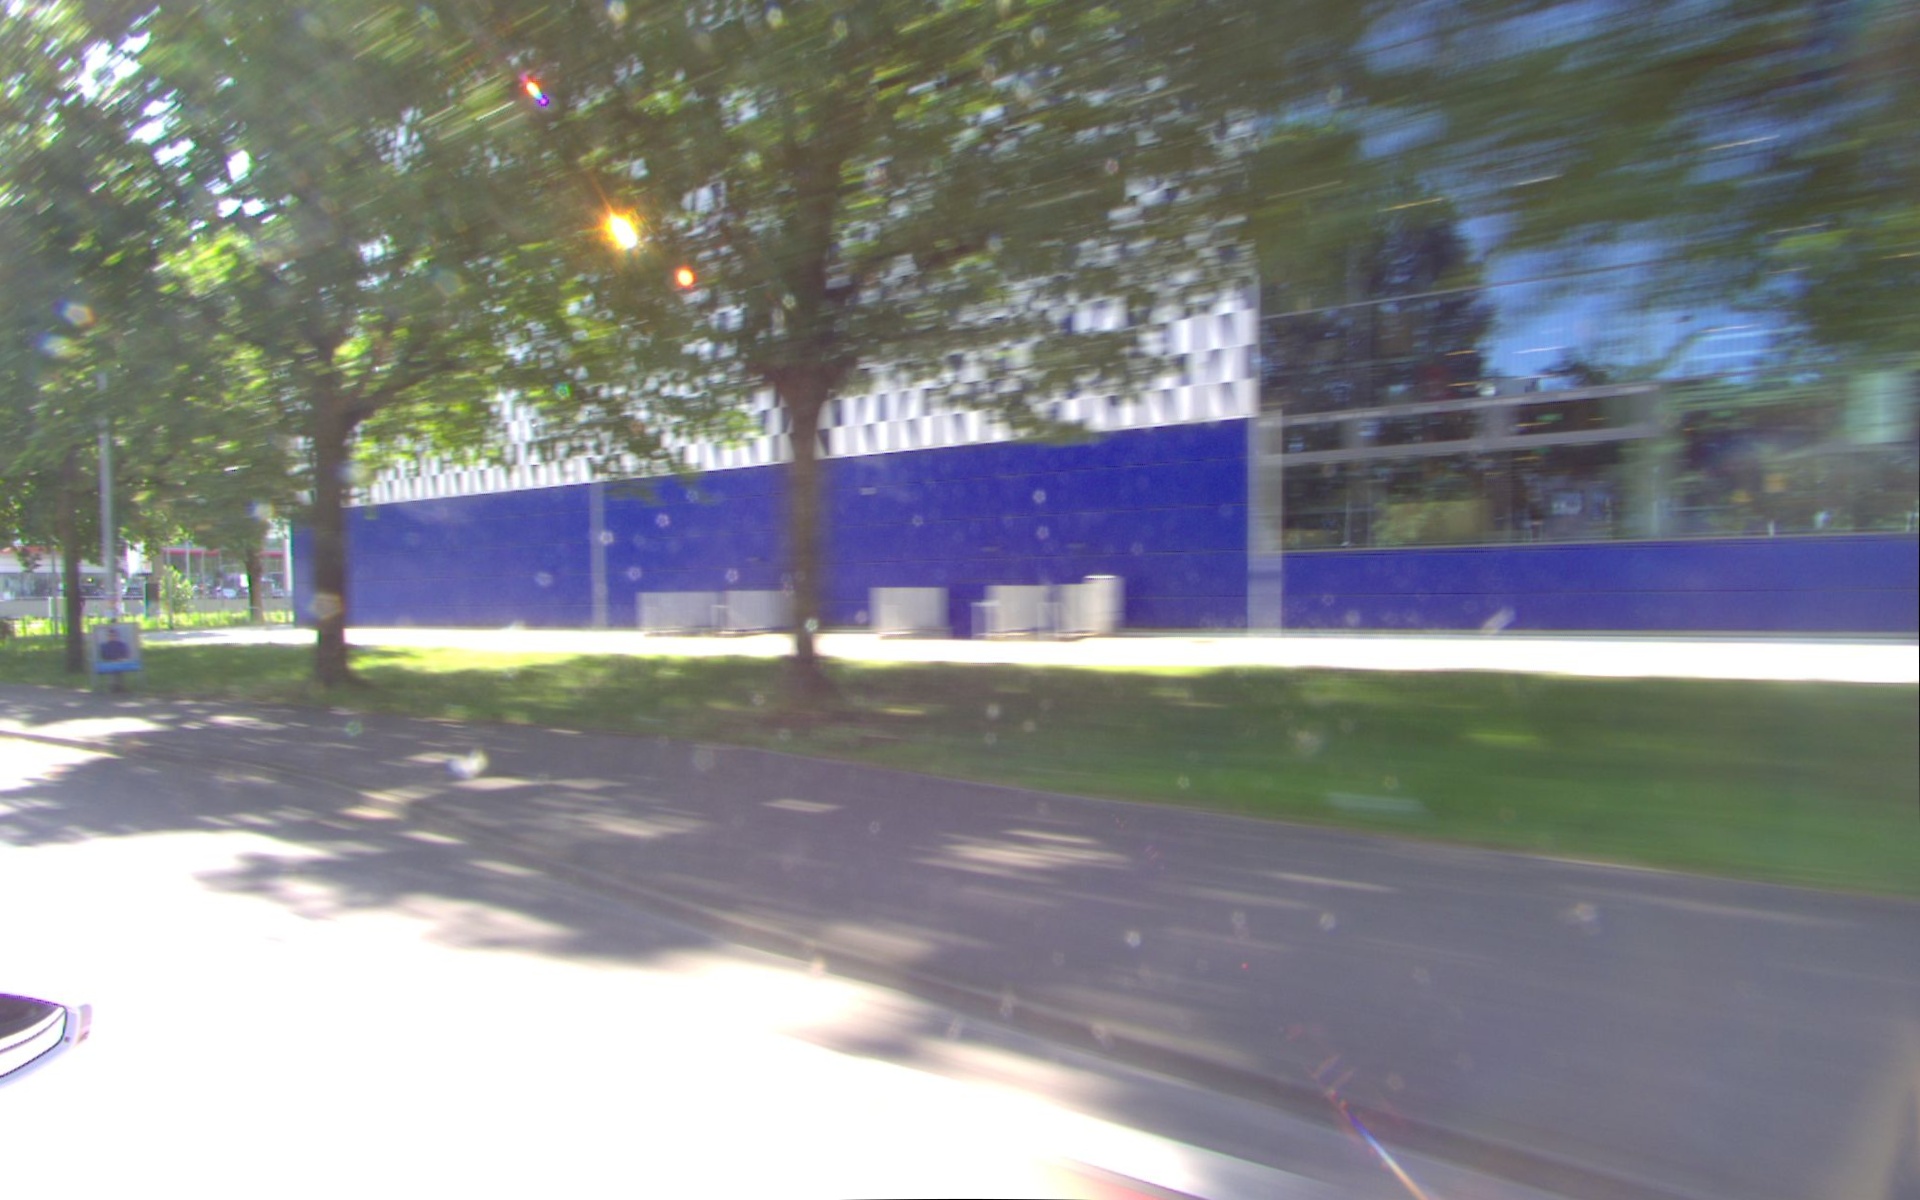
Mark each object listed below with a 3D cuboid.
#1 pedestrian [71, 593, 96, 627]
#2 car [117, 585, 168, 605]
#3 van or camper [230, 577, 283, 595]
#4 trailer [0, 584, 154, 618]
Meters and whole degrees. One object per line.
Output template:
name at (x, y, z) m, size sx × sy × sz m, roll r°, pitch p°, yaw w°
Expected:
pedestrian at (-46.733, 0.525, 53.405) m, size 0.791 × 1.794 × 0.627 m, roll 0°, pitch 2°, yaw 19°
car at (-92.085, -0.535, 112.848) m, size 1.969 × 2.040 × 3.985 m, roll 1°, pitch -1°, yaw 28°
van or camper at (-85.988, -1.709, 122.456) m, size 1.969 × 2.040 × 4.980 m, roll 1°, pitch -1°, yaw 29°
trailer at (-73.801, 0.132, 82.220) m, size 1.972 × 2.501 × 11.843 m, roll 1°, pitch -1°, yaw 34°
